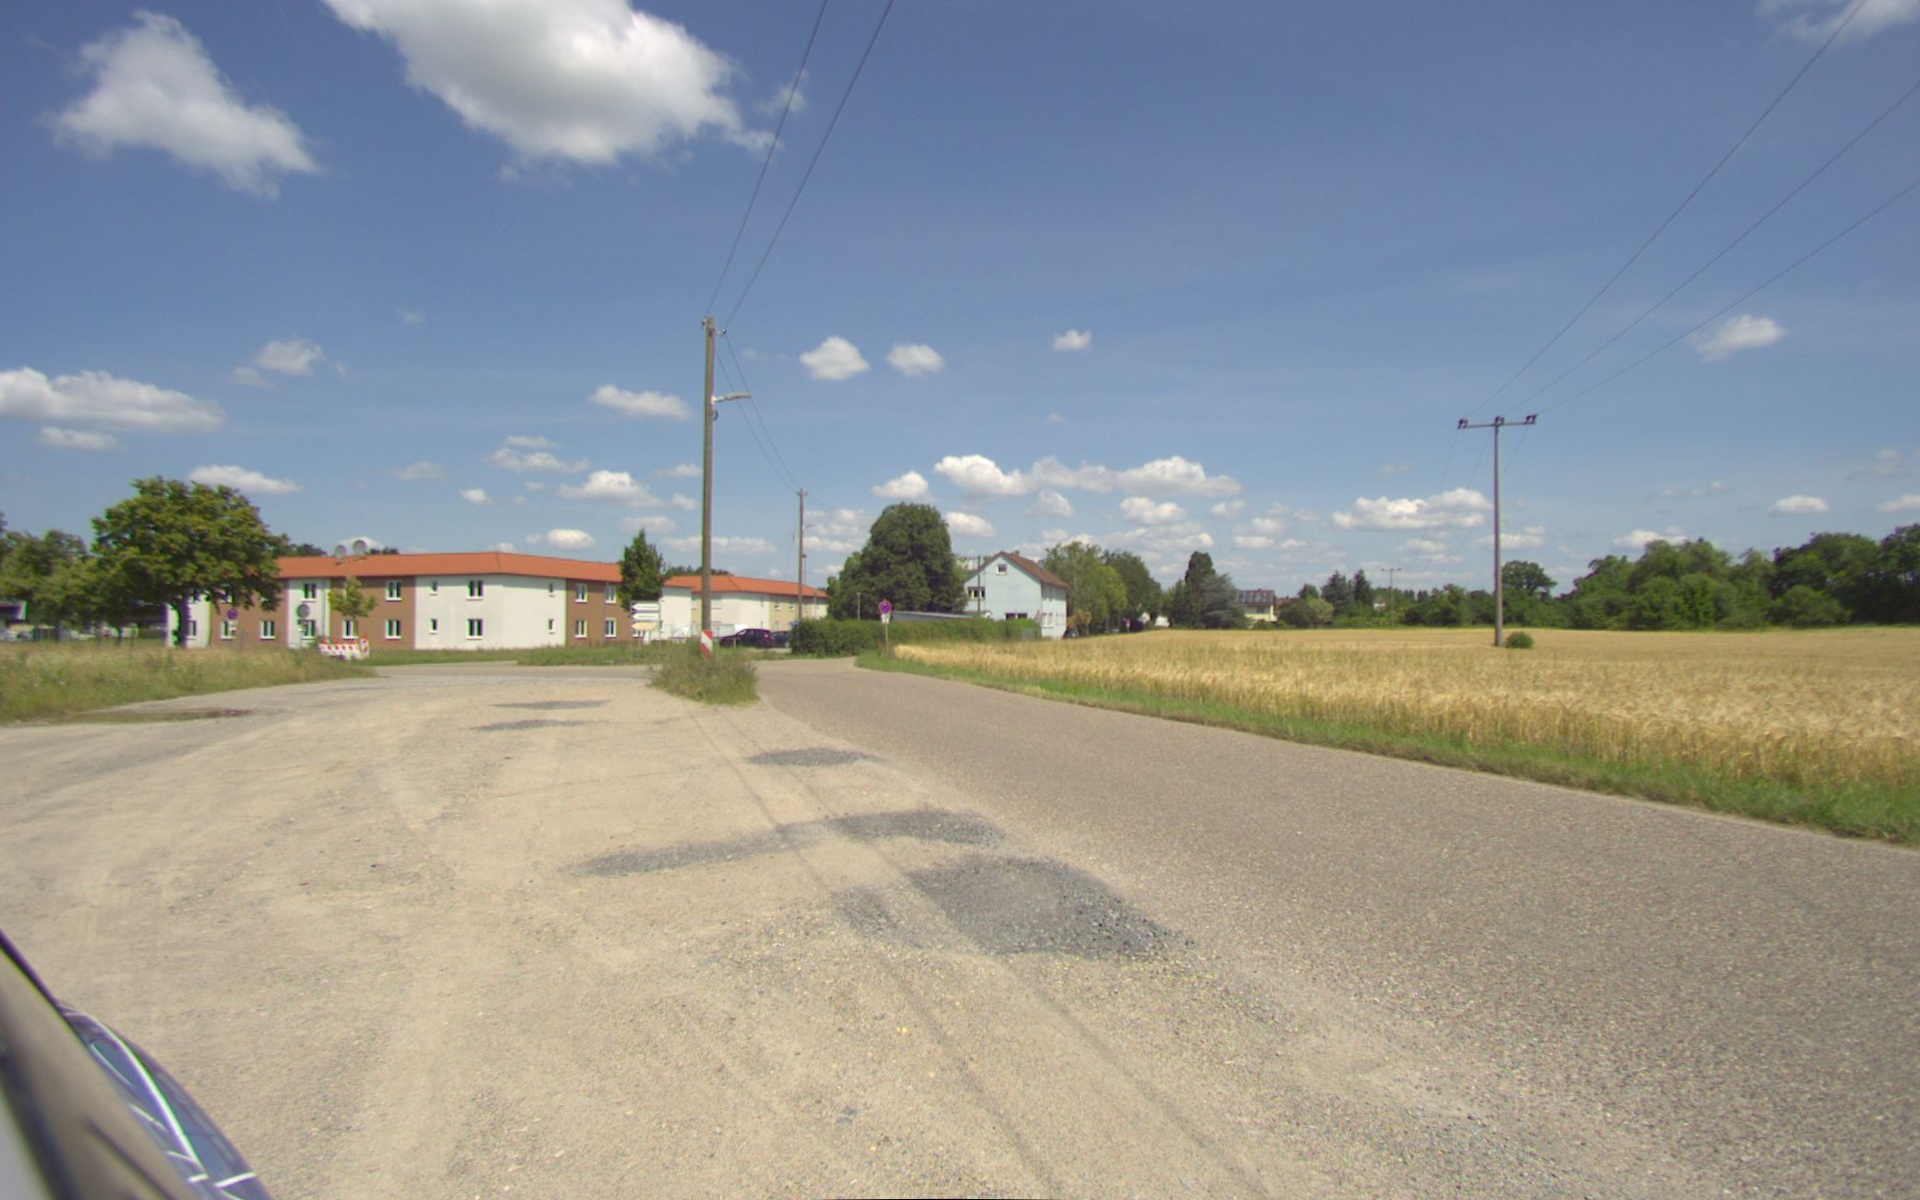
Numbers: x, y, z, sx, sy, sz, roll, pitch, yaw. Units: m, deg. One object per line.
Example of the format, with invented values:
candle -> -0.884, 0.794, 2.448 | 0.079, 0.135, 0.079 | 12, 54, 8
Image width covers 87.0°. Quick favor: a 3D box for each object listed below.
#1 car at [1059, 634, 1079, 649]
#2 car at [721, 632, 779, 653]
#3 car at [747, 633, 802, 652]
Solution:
car -> 12.529, 4.741, 116.030 | 1.733, 1.692, 4.234 | -1, -1, 15
car -> -16.809, 3.392, 80.902 | 4.109, 1.627, 1.990 | -1, -2, 15
car -> -15.528, 3.554, 84.604 | 4.109, 1.627, 1.990 | -1, -2, 15
